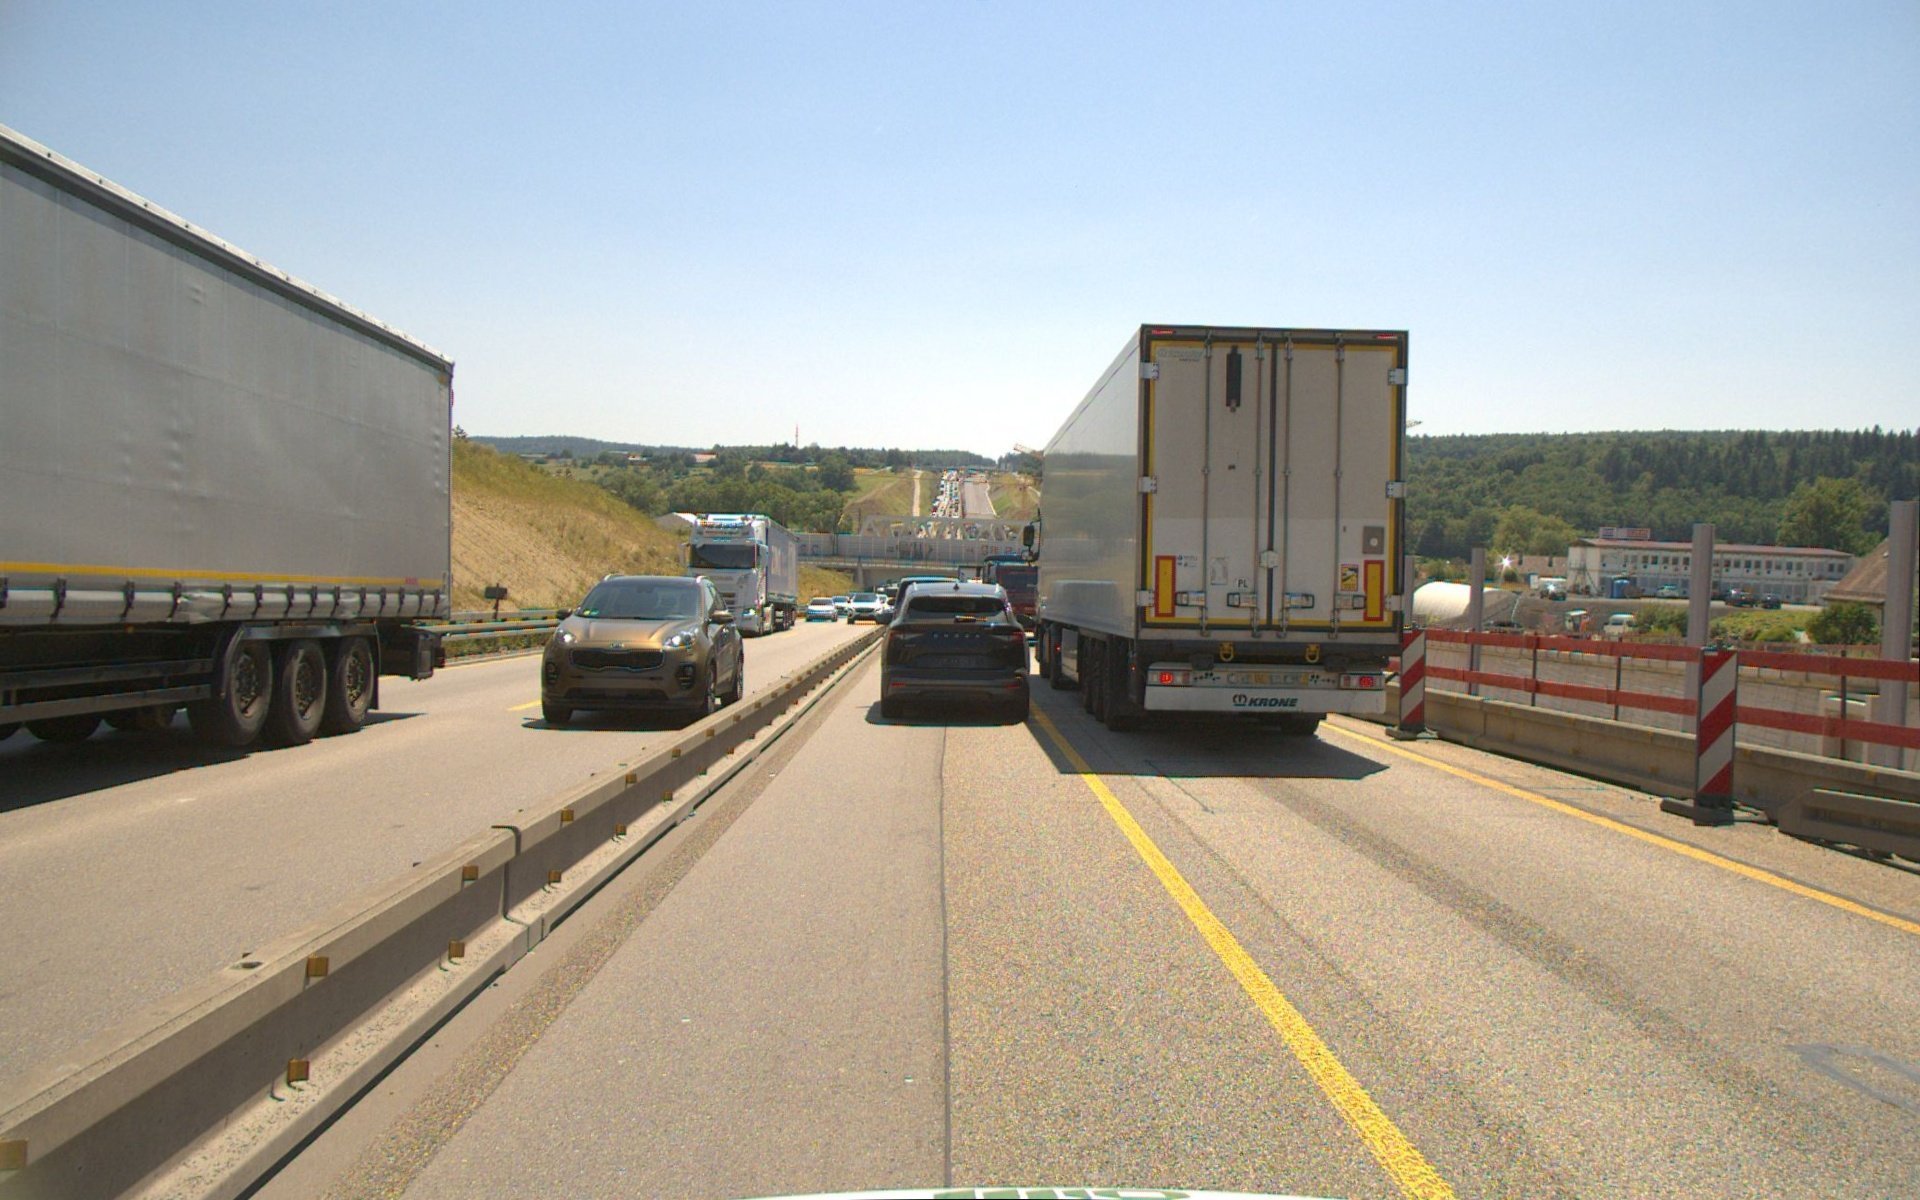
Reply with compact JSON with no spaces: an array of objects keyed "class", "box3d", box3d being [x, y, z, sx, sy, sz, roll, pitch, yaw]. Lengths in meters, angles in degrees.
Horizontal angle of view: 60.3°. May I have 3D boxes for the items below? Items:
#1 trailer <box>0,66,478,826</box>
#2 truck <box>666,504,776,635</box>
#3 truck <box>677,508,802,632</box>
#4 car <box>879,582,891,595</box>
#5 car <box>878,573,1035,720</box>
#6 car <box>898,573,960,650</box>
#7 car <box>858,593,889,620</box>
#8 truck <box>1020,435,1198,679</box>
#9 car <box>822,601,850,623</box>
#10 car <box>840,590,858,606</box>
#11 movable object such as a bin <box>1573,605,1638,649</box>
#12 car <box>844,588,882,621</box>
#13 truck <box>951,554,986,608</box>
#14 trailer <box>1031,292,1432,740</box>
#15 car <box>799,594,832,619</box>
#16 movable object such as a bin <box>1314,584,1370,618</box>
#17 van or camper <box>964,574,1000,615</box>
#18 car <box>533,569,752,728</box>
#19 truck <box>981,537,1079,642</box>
[{"class":"trailer","box3d":[-6.975,-0.919,12.587,2.753,4.361,14.031,1,0,-1]},{"class":"truck","box3d":[-8.086,-1.007,56.461,3.173,4.232,4.246,1,0,-1]},{"class":"truck","box3d":[-8.243,-1.054,63.884,3.177,4.232,13.974,1,0,-1]},{"class":"car","box3d":[-10.657,-1.608,235.183,1.697,1.825,3.579,1,0,-1]},{"class":"car","box3d":[-0.066,0.516,20.559,1.764,1.648,3.297,1,1,-1]},{"class":"car","box3d":[-0.738,0.272,41.316,1.444,1.826,3.297,1,0,0]},{"class":"car","box3d":[-5.658,0.423,108.606,1.853,1.738,4.560,1,0,-2]},{"class":"truck","box3d":[2.633,-0.723,30.692,2.720,4.129,4.903,1,0,-2]},{"class":"car","box3d":[-9.503,0.933,126.771,1.861,1.612,4.513,1,0,-2]},{"class":"car","box3d":[-10.156,-0.176,152.072,1.614,1.440,3.997,0,0,-3]},{"class":"movable object such as a bin","box3d":[35.408,1.464,90.852,1.953,2.278,4.151,1,0,0]},{"class":"car","box3d":[-5.171,0.228,88.554,1.775,1.666,4.362,1,0,0]},{"class":"truck","box3d":[0.633,-1.498,131.169,2.467,4.028,7.597,2,0,-1]},{"class":"trailer","box3d":[2.836,-0.748,22.433,2.745,4.129,14.112,1,0,-1]},{"class":"car","box3d":[-8.479,0.349,97.371,1.667,1.403,3.965,1,0,-2]},{"class":"movable object such as a bin","box3d":[34.972,0.114,151.778,2.828,2.960,9.478,1,0,0]},{"class":"van or camper","box3d":[1.246,-0.354,97.243,1.953,2.283,4.000,2,0,0]},{"class":"car","box3d":[-3.565,0.493,19.302,1.811,1.614,4.173,1,0,-1]},{"class":"truck","box3d":[2.231,-0.298,56.972,2.756,3.190,12.836,1,0,0]}]
